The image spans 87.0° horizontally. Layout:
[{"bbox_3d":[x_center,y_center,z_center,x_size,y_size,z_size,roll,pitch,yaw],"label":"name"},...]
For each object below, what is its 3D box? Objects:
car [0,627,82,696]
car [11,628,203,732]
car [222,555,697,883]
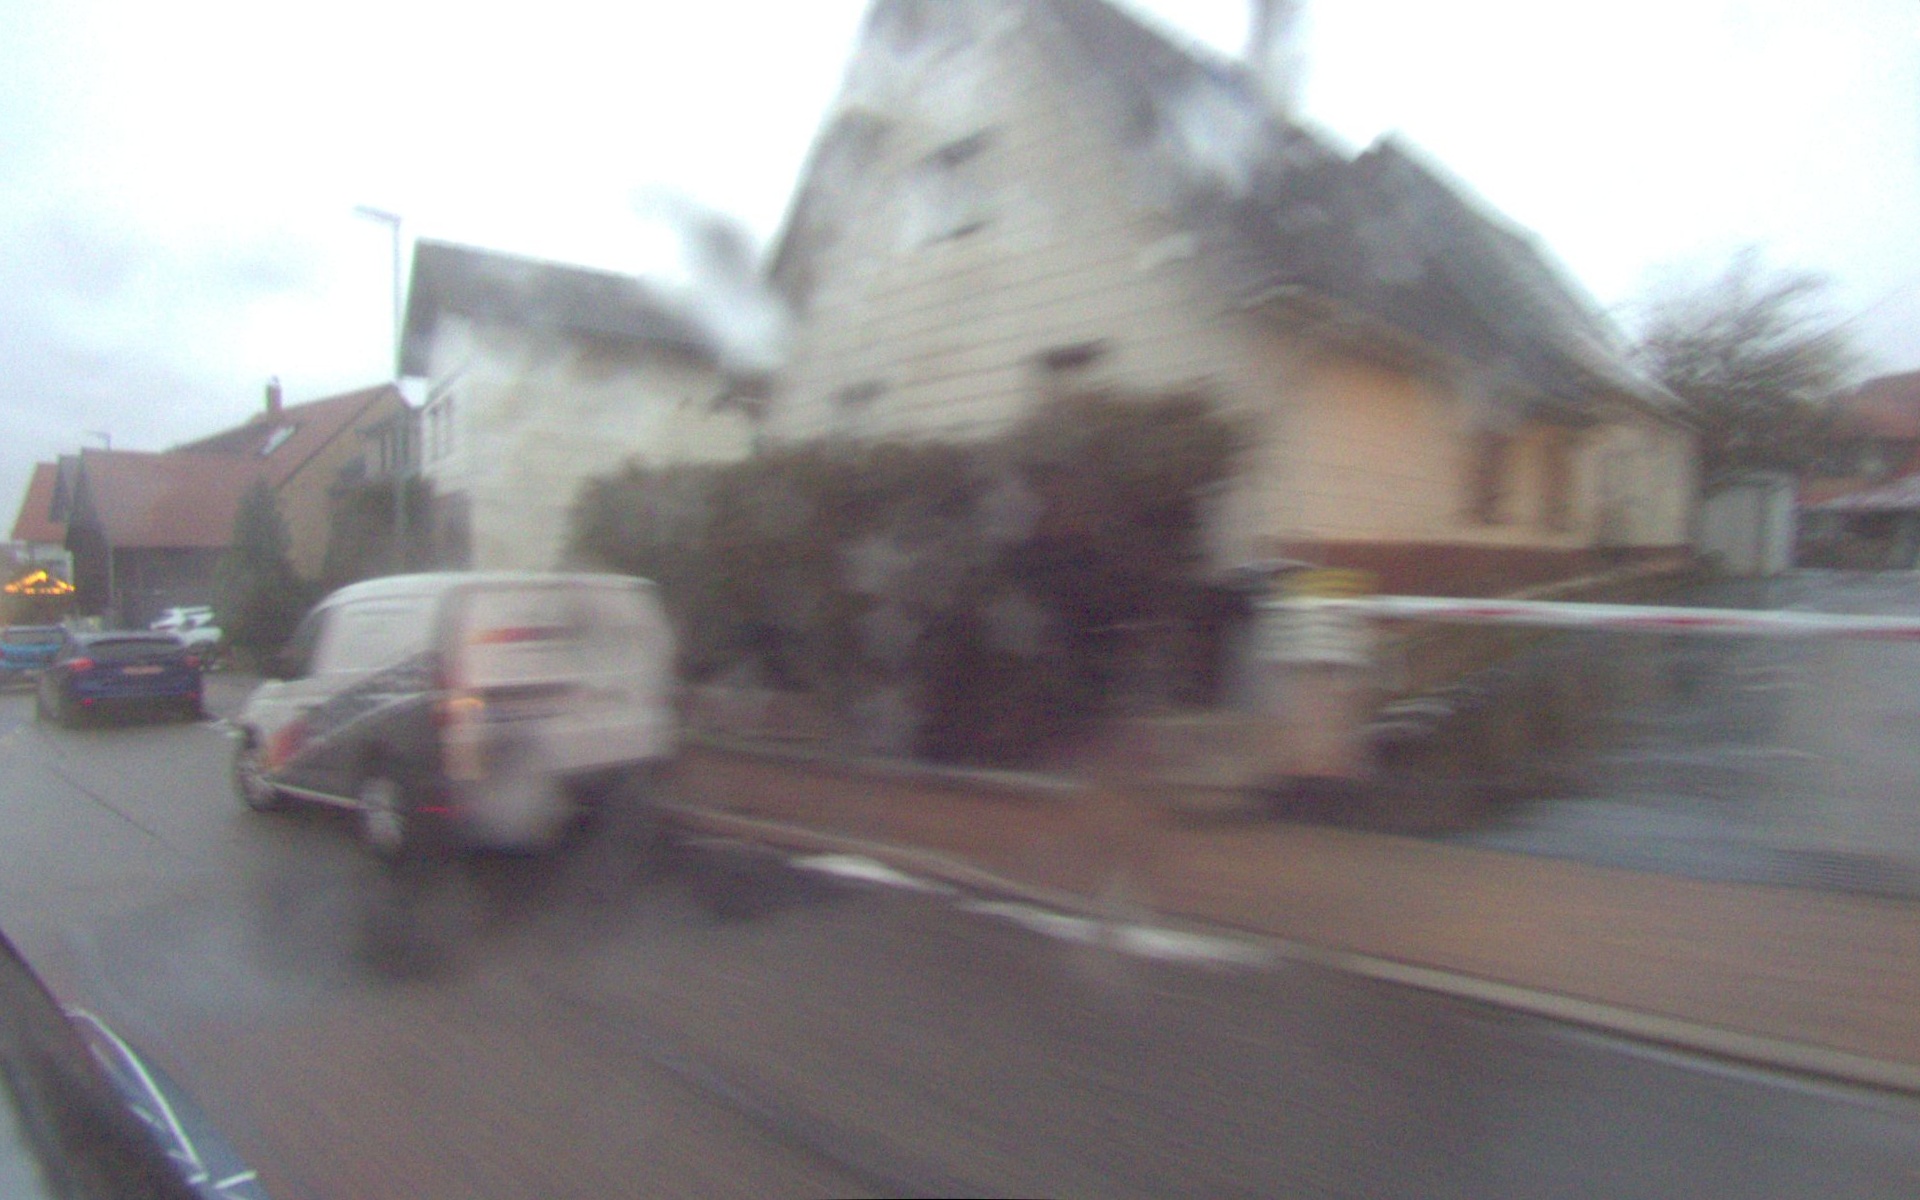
[{"bbox_3d":[-22.856,1.445,24.617,3.998,1.564,1.744,-2,-2,42],"label":"car"},{"bbox_3d":[-14.069,1.216,16.625,3.998,1.477,1.806,-2,-2,41],"label":"car"},{"bbox_3d":[-3.922,0.715,7.611,4.126,1.806,1.753,-2,-2,41],"label":"car"}]
